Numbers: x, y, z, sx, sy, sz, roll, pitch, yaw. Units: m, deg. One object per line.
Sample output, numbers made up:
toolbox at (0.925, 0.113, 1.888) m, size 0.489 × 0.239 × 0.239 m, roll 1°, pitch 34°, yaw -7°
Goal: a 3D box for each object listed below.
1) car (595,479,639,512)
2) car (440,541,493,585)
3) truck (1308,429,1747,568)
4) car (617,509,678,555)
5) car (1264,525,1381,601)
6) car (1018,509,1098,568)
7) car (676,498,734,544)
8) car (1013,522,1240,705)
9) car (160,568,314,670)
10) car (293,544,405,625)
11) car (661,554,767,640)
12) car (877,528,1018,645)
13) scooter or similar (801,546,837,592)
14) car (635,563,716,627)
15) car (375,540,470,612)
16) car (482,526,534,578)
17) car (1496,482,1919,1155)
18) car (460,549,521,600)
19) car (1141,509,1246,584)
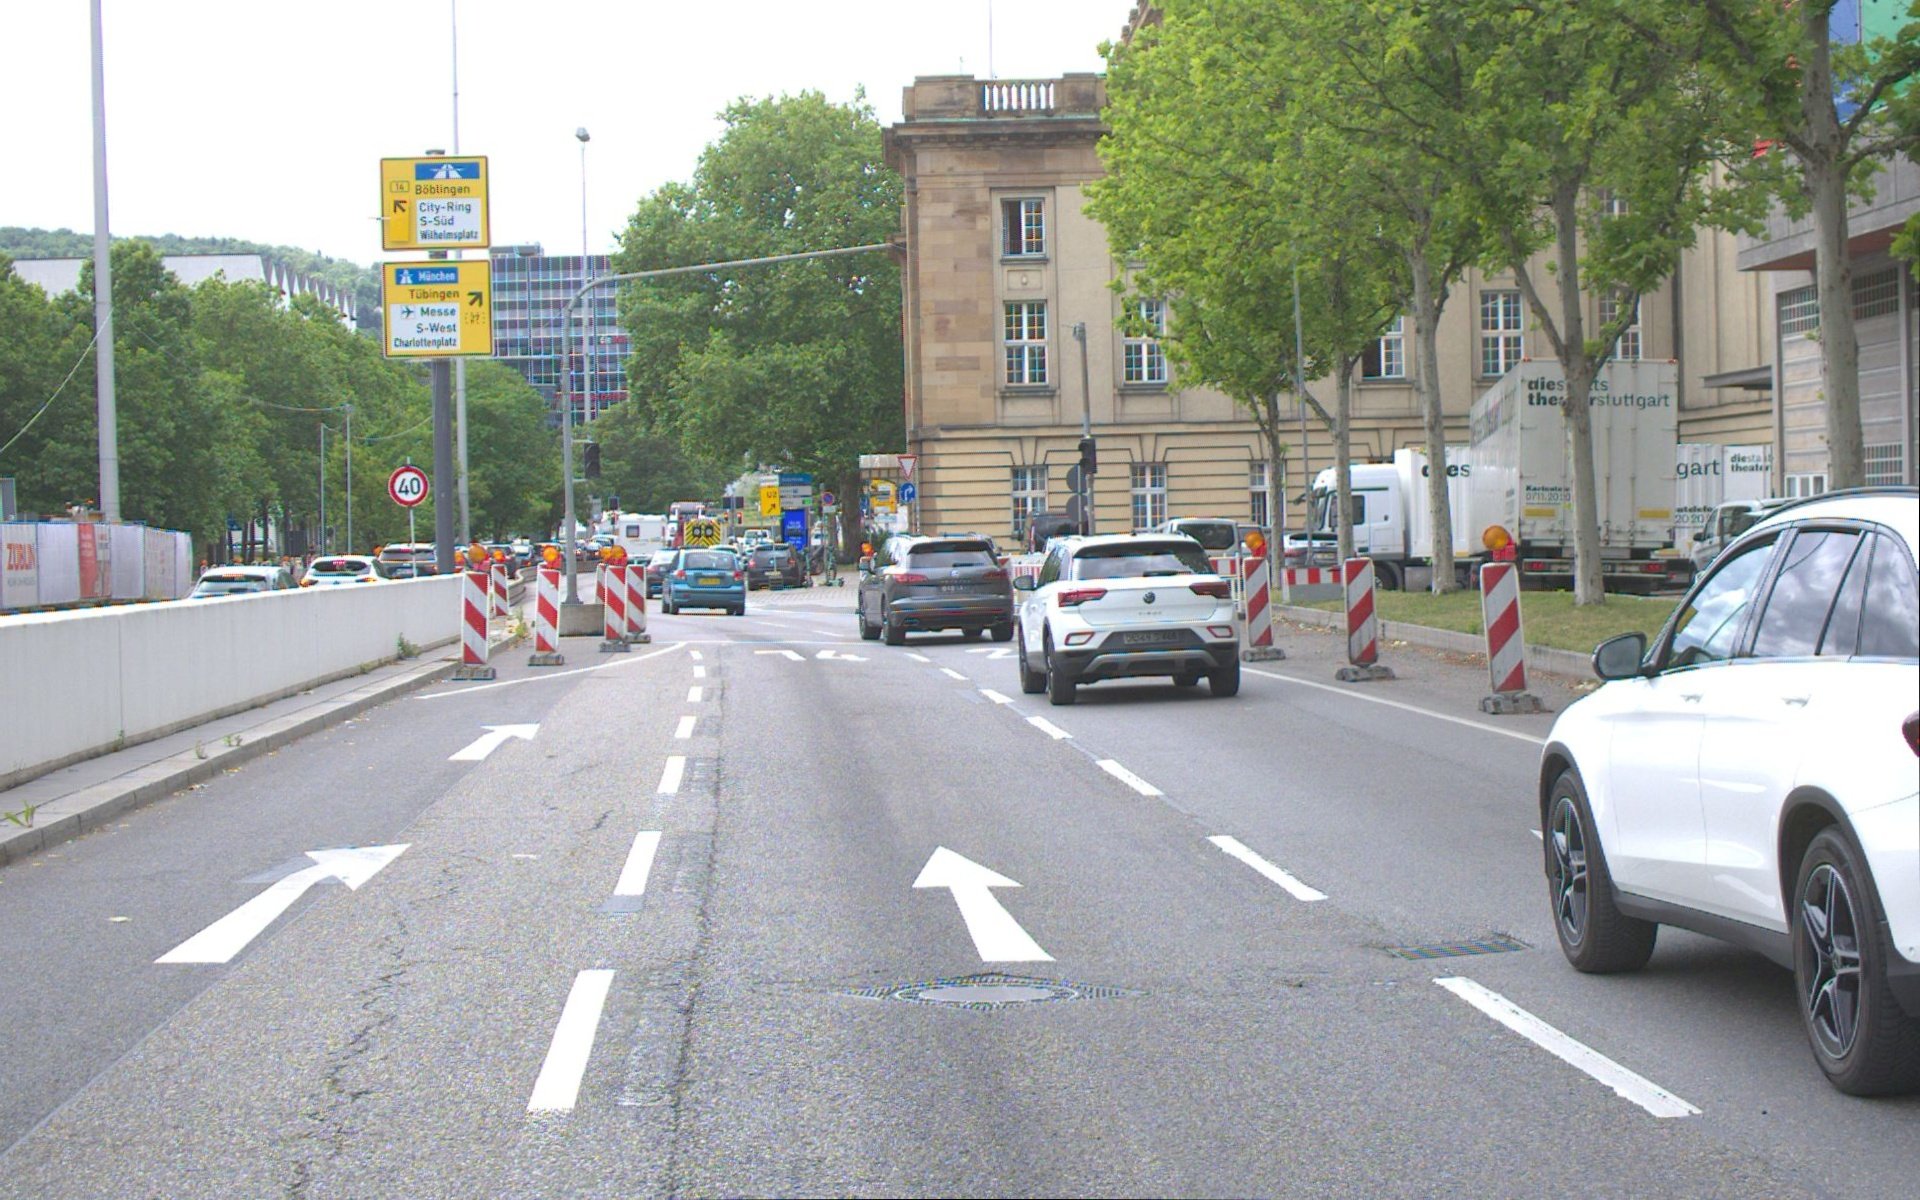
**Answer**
car at (-25.864, -7.876, 259.739) m, size 2.582 × 2.366 × 5.526 m, roll -2°, pitch 1°, yaw 1°
car at (-18.407, -1.385, 128.415) m, size 1.750 × 1.562 × 4.332 m, roll -1°, pitch 1°, yaw -6°
truck at (13.566, -2.412, 82.602) m, size 10.028 × 3.040 × 2.569 m, roll -1°, pitch 0°, yaw -2°
car at (-16.871, -3.711, 185.739) m, size 2.582 × 2.366 × 5.526 m, roll -2°, pitch 1°, yaw 1°
car at (7.792, -0.786, 74.212) m, size 1.856 × 1.562 × 4.332 m, roll -1°, pitch 0°, yaw -3°
car at (2.672, -1.680, 94.898) m, size 1.856 × 1.562 × 4.332 m, roll -1°, pitch 0°, yaw -3°
car at (-13.888, -4.321, 187.394) m, size 2.582 × 2.366 × 5.526 m, roll -2°, pitch 1°, yaw 1°
car at (1.545, 0.081, 33.414) m, size 1.750 × 1.562 × 4.332 m, roll -4°, pitch 1°, yaw -2°
car at (-11.915, 0.281, 56.900) m, size 1.750 × 1.562 × 4.332 m, roll -1°, pitch 1°, yaw -2°
car at (-12.285, -0.337, 69.247) m, size 1.750 × 1.562 × 3.377 m, roll -1°, pitch 1°, yaw -2°
car at (-5.455, -0.089, 76.642) m, size 1.823 × 1.734 × 4.480 m, roll -2°, pitch 1°, yaw 2°
car at (-0.241, -0.248, 53.475) m, size 1.823 × 1.562 × 4.481 m, roll -4°, pitch 2°, yaw -4°
scooter or similar at (-4.266, -0.925, 104.233) m, size 1.012 × 1.340 × 1.444 m, roll -1°, pitch -1°, yaw -1°
car at (-8.218, -0.128, 99.633) m, size 1.823 × 1.735 × 4.479 m, roll -2°, pitch -1°, yaw 1°
car at (-12.712, -0.586, 81.479) m, size 1.750 × 1.562 × 3.377 m, roll -4°, pitch 1°, yaw -2°
car at (-18.964, -2.038, 144.358) m, size 1.993 × 2.006 × 4.001 m, roll -2°, pitch 3°, yaw -6°
car at (3.073, 0.458, 10.540) m, size 1.811 × 1.637 × 4.552 m, roll -4°, pitch 1°, yaw -3°
car at (-15.038, -0.826, 110.258) m, size 1.750 × 1.562 × 4.332 m, roll -1°, pitch 1°, yaw -6°
car at (5.025, -1.142, 74.535) m, size 1.750 × 1.562 × 4.332 m, roll -1°, pitch 0°, yaw -3°
